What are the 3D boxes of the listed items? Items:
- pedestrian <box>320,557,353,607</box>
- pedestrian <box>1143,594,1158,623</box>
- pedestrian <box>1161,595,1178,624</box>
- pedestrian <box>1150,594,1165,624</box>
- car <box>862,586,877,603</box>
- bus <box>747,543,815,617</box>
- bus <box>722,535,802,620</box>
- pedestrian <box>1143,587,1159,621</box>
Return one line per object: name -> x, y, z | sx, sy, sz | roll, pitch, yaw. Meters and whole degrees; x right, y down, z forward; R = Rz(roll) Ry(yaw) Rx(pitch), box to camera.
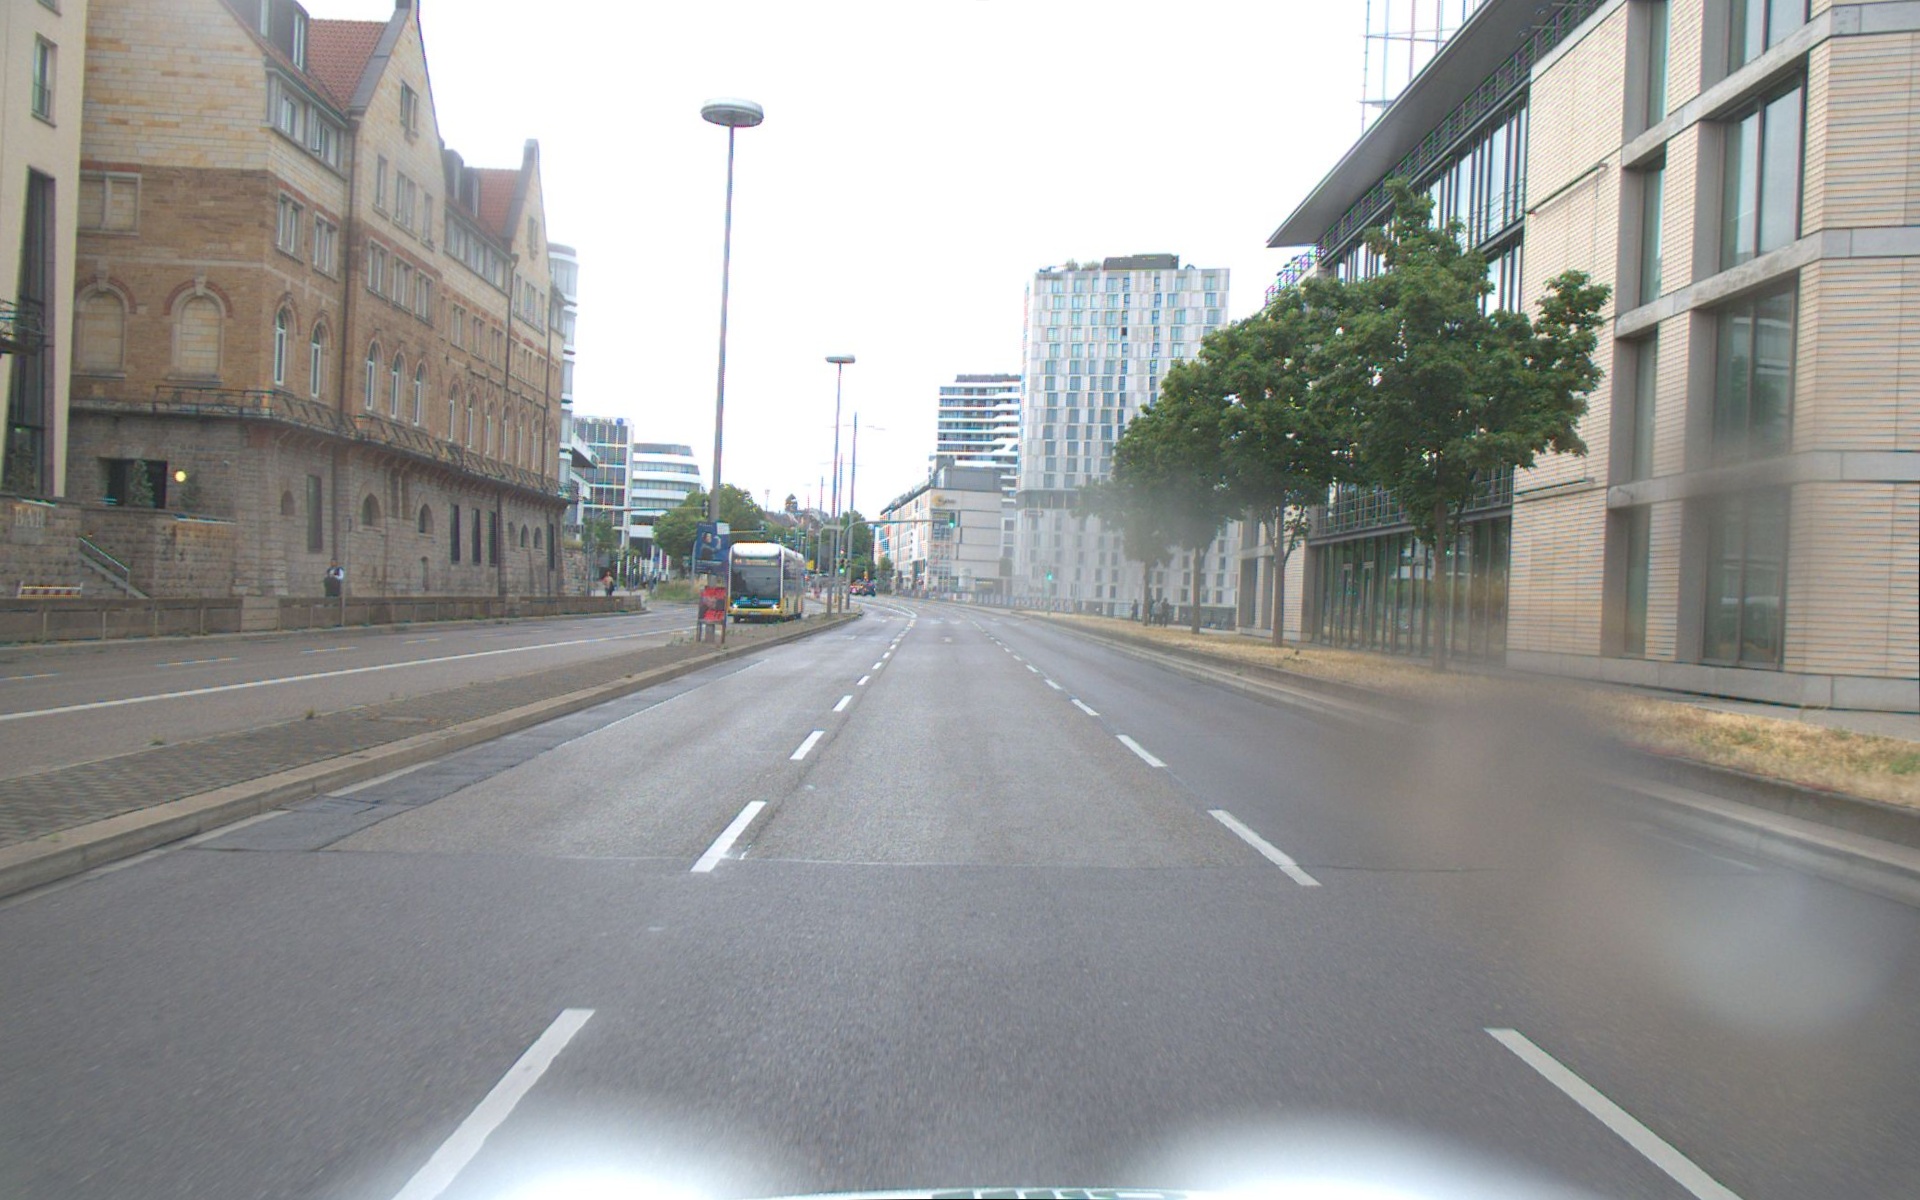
pedestrian -> -19.209, -0.569, 50.990 | 0.739, 1.503, 0.714 | 1, 1, -2
pedestrian -> 10.820, 0.491, 93.900 | 0.540, 1.605, 0.669 | 2, 2, 33
pedestrian -> 11.696, 0.522, 92.473 | 0.657, 1.605, 0.666 | 2, 2, 37
pedestrian -> 10.961, 0.489, 91.905 | 0.540, 1.605, 0.669 | 2, 2, 33
car -> -14.213, -0.896, 261.090 | 1.956, 2.381, 3.999 | -9, 1, -2
bus -> -9.331, -1.079, 87.254 | 2.644, 3.621, 10.091 | 1, 1, -1
bus -> -9.055, -1.001, 76.609 | 2.644, 3.621, 10.091 | 1, 0, -1
pedestrian -> 10.855, 0.223, 93.941 | 0.777, 1.873, 0.542 | 0, 2, -45
